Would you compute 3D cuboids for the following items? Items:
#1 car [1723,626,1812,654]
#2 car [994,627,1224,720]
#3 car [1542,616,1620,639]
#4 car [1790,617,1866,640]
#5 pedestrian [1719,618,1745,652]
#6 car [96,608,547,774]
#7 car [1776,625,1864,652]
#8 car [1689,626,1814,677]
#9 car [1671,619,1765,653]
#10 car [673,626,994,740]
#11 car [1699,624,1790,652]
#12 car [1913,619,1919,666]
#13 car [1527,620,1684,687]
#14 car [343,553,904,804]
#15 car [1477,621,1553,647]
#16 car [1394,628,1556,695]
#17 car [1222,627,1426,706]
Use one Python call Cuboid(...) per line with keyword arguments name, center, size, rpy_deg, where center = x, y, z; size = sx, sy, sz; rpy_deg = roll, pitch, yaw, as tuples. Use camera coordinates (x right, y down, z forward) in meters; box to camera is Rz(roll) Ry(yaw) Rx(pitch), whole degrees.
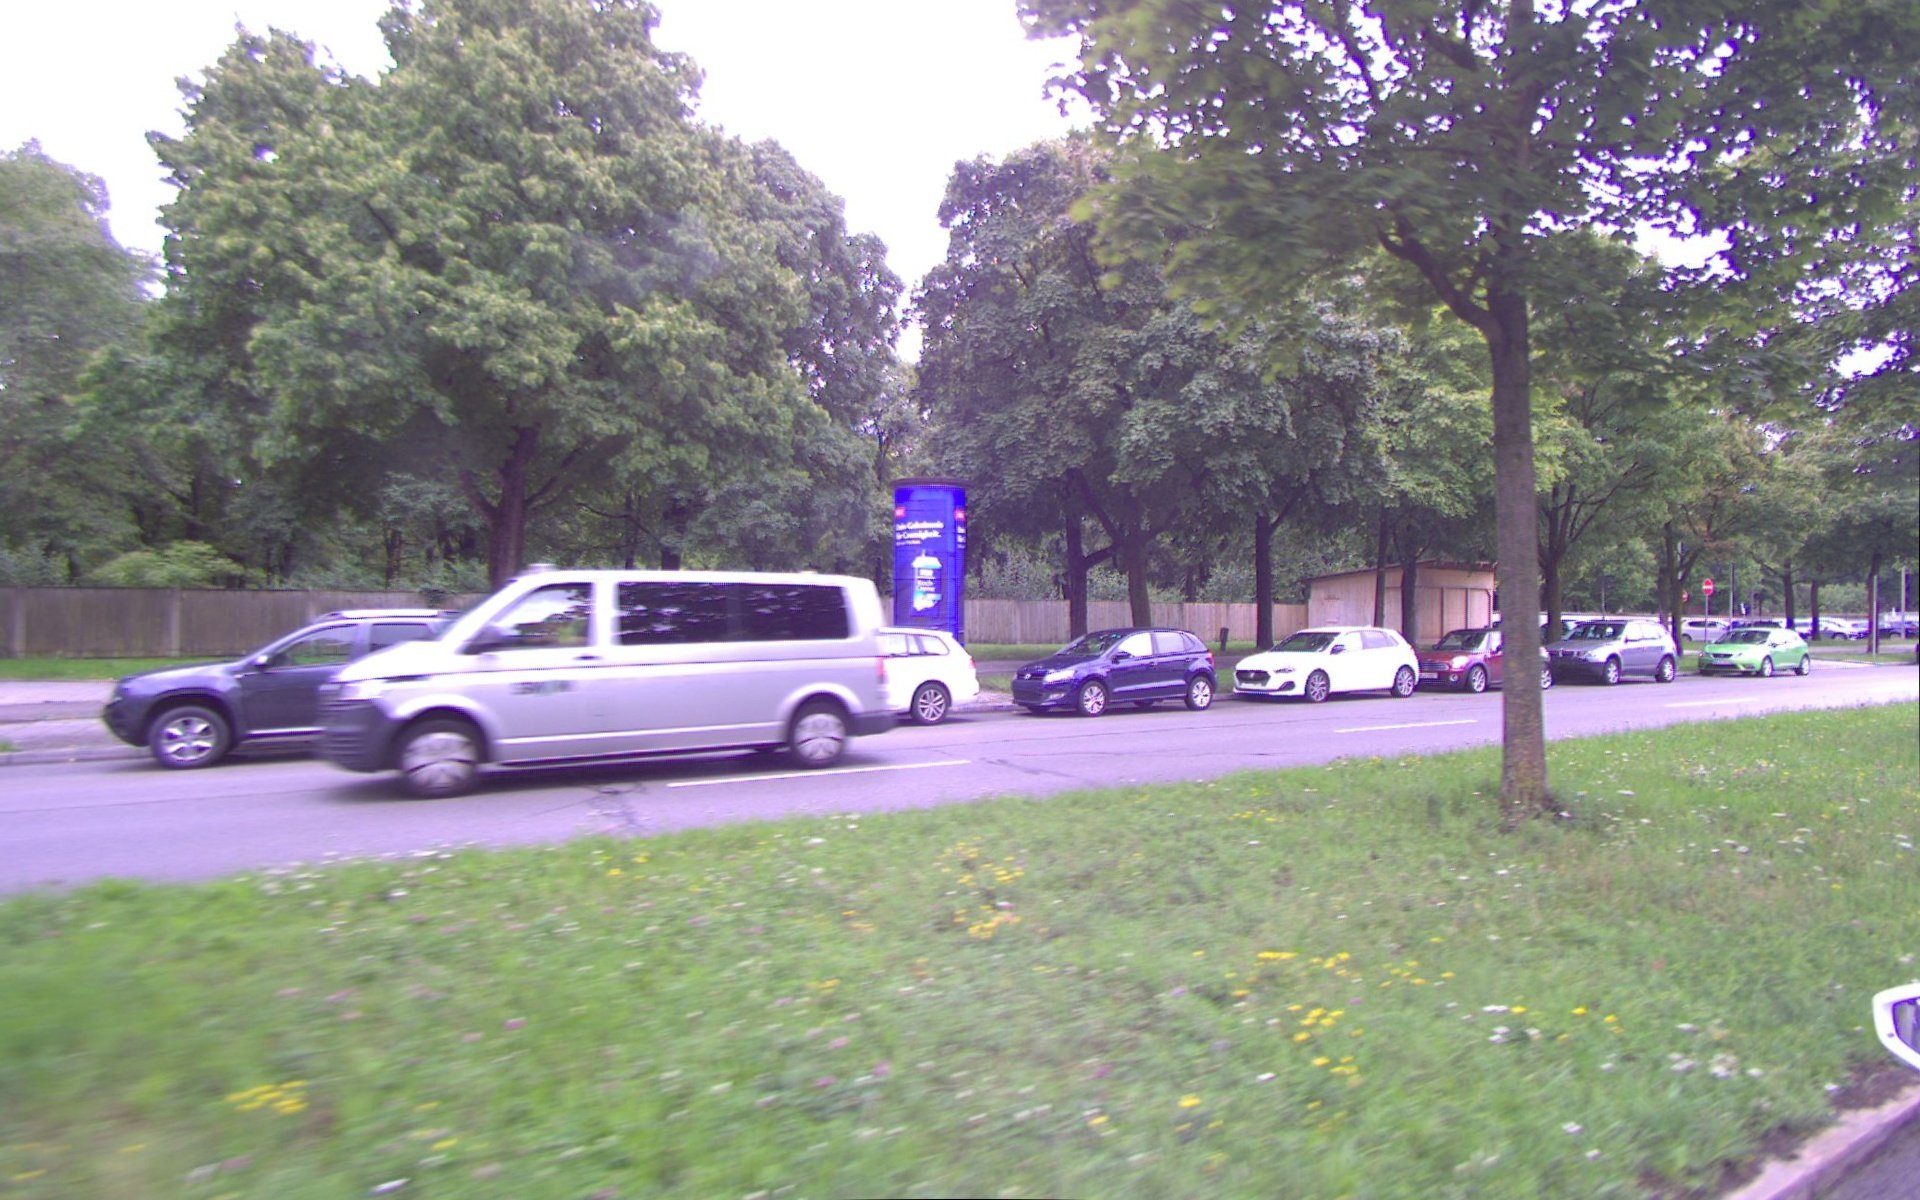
Cuboid(name="car", center=(48.289, 2.370, 60.154), size=(1.656, 1.465, 3.841), rpy_deg=(1, 0, -35))
Cuboid(name="car", center=(2.628, 1.203, 17.446), size=(3.855, 1.436, 1.604), rpy_deg=(1, -2, -33))
Cuboid(name="car", center=(44.039, 1.918, 71.373), size=(1.652, 1.496, 4.486), rpy_deg=(2, 0, -29))
Cuboid(name="car", center=(61.932, 2.027, 71.704), size=(1.656, 1.465, 3.841), rpy_deg=(1, 0, -35))
Cuboid(name="pedestrian", center=(35.541, 1.614, 46.236), size=(0.712, 1.554, 0.724), rpy_deg=(1, 0, -29))
Cuboid(name="car", center=(-7.265, 0.962, 11.893), size=(4.206, 1.667, 1.728), rpy_deg=(1, -2, -31))
Cuboid(name="car", center=(53.423, 2.364, 62.464), size=(1.656, 1.465, 3.841), rpy_deg=(1, 0, -35))
Cuboid(name="car", center=(23.939, 1.531, 30.354), size=(3.830, 1.428, 1.542), rpy_deg=(1, -2, -28))
Cuboid(name="car", center=(42.601, 1.972, 56.521), size=(1.656, 1.741, 3.893), rpy_deg=(1, 0, -35))
Cuboid(name="car", center=(-1.840, 1.149, 15.067), size=(4.480, 1.469, 1.754), rpy_deg=(1, -2, -31))
Cuboid(name="car", center=(45.016, 2.162, 57.693), size=(1.656, 1.465, 3.841), rpy_deg=(1, 0, -35))
Cuboid(name="car", center=(38.705, 1.671, 38.840), size=(3.834, 1.764, 1.708), rpy_deg=(1, 0, -31))
Cuboid(name="car", center=(16.830, 1.352, 26.151), size=(4.320, 1.607, 1.682), rpy_deg=(1, -2, -31))
Cuboid(name="car", center=(-3.139, 0.683, 9.896), size=(4.937, 1.959, 1.791), rpy_deg=(1, -2, -31))
Cuboid(name="car", center=(29.099, 1.773, 52.799), size=(1.639, 1.217, 4.421), rpy_deg=(1, 0, 2))
Cuboid(name="car", center=(11.922, 1.375, 23.211), size=(3.585, 1.415, 1.584), rpy_deg=(1, -2, -29))
Cuboid(name="car", center=(7.516, 1.303, 20.653), size=(4.228, 1.463, 1.600), rpy_deg=(1, -2, -30))
